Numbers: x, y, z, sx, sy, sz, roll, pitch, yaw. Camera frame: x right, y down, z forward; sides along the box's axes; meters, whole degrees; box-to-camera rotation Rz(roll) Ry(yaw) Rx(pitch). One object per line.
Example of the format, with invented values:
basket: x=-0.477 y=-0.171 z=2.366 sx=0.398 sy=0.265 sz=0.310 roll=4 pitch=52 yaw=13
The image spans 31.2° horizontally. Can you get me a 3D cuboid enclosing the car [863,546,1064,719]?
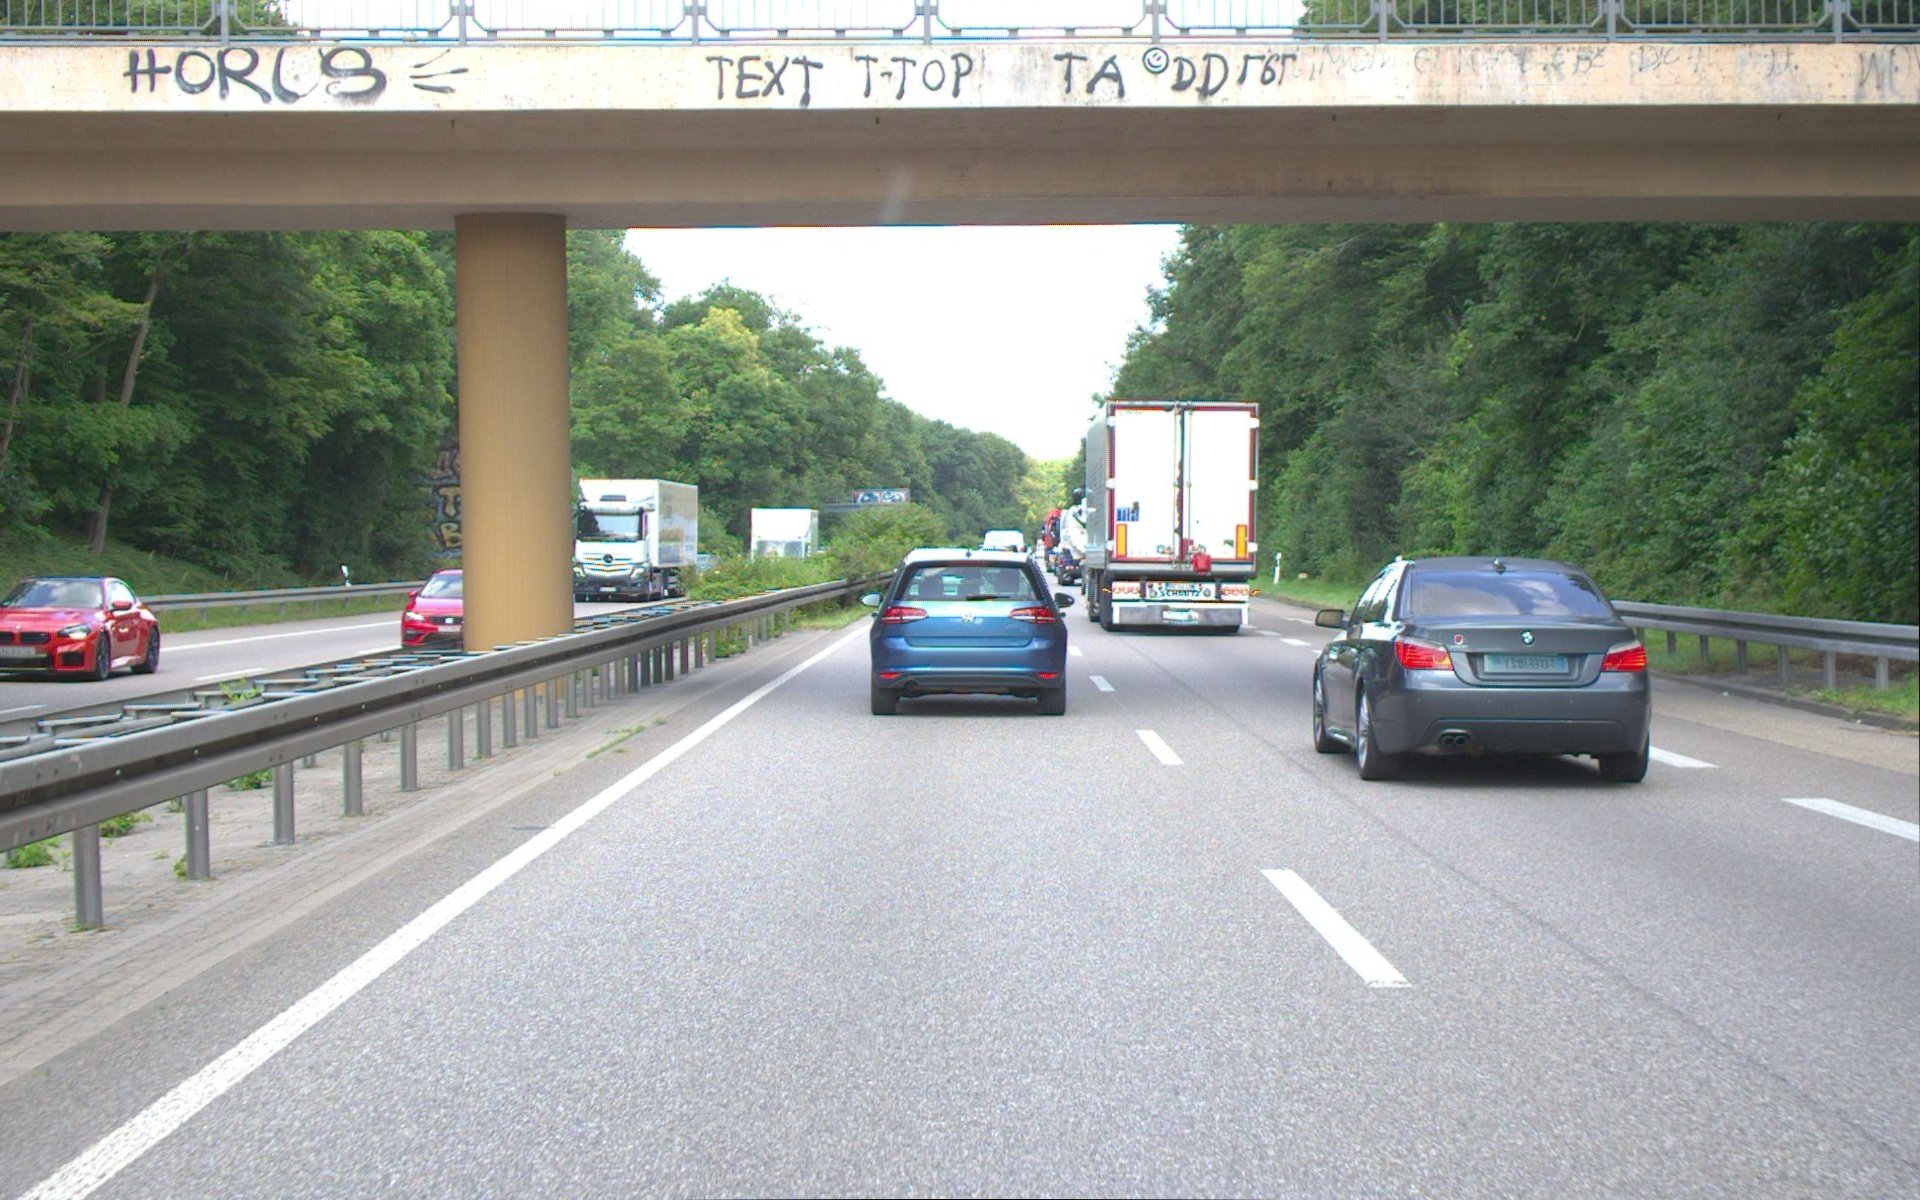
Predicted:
car: x=0.053 y=0.248 z=31.644 sx=1.705 sy=1.465 sz=4.000 roll=1 pitch=1 yaw=1

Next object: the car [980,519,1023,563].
car: x=2.126 y=-3.049 z=177.199 sx=1.993 sy=2.247 sz=4.442 roll=-1 pitch=1 yaw=-1

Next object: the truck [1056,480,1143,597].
truck: x=5.468 y=-2.358 z=136.552 sx=3.232 sy=4.371 sz=12.970 roll=1 pitch=0 yaw=2

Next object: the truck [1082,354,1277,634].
truck: x=4.029 y=-1.895 z=63.613 sx=3.242 sy=4.700 sz=11.006 roll=0 pitch=1 yaw=3

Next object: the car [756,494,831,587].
car: x=-5.977 y=-2.138 z=124.296 sx=2.288 sy=3.221 sz=7.287 roll=-1 pitch=1 yaw=0

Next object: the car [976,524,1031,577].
car: x=1.688 y=-1.924 z=133.006 sx=1.954 sy=2.007 sz=4.000 roll=-1 pitch=1 yaw=3

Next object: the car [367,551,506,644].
car: x=-8.725 y=-0.072 z=57.629 sx=1.685 sy=1.471 sz=4.437 roll=-1 pitch=1 yaw=-1

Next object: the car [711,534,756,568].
car: x=-11.409 y=-2.480 z=173.545 sx=1.828 sy=1.655 sz=4.595 roll=1 pitch=1 yaw=1

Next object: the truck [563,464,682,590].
truck: x=-11.006 y=-2.395 z=112.725 sx=3.040 sy=3.973 sz=6.748 roll=-1 pitch=1 yaw=1

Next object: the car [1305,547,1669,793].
car: x=3.464 y=0.391 z=23.437 sx=1.774 sy=1.470 sz=4.880 roll=1 pitch=1 yaw=1

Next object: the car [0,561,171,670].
car: x=-12.280 y=0.173 z=47.111 sx=1.864 sy=1.374 sz=4.806 roll=-1 pitch=1 yaw=-1

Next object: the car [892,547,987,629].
car: x=-0.367 y=-0.251 z=65.419 sx=1.665 sy=1.495 sz=4.152 roll=1 pitch=1 yaw=2

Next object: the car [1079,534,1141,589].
car: x=4.762 y=-1.233 z=109.674 sx=1.888 sy=1.723 sz=4.000 roll=-1 pitch=1 yaw=2

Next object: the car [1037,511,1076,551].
car: x=5.622 y=-4.028 z=200.805 sx=1.993 sy=2.320 sz=4.442 roll=-1 pitch=1 yaw=-1
